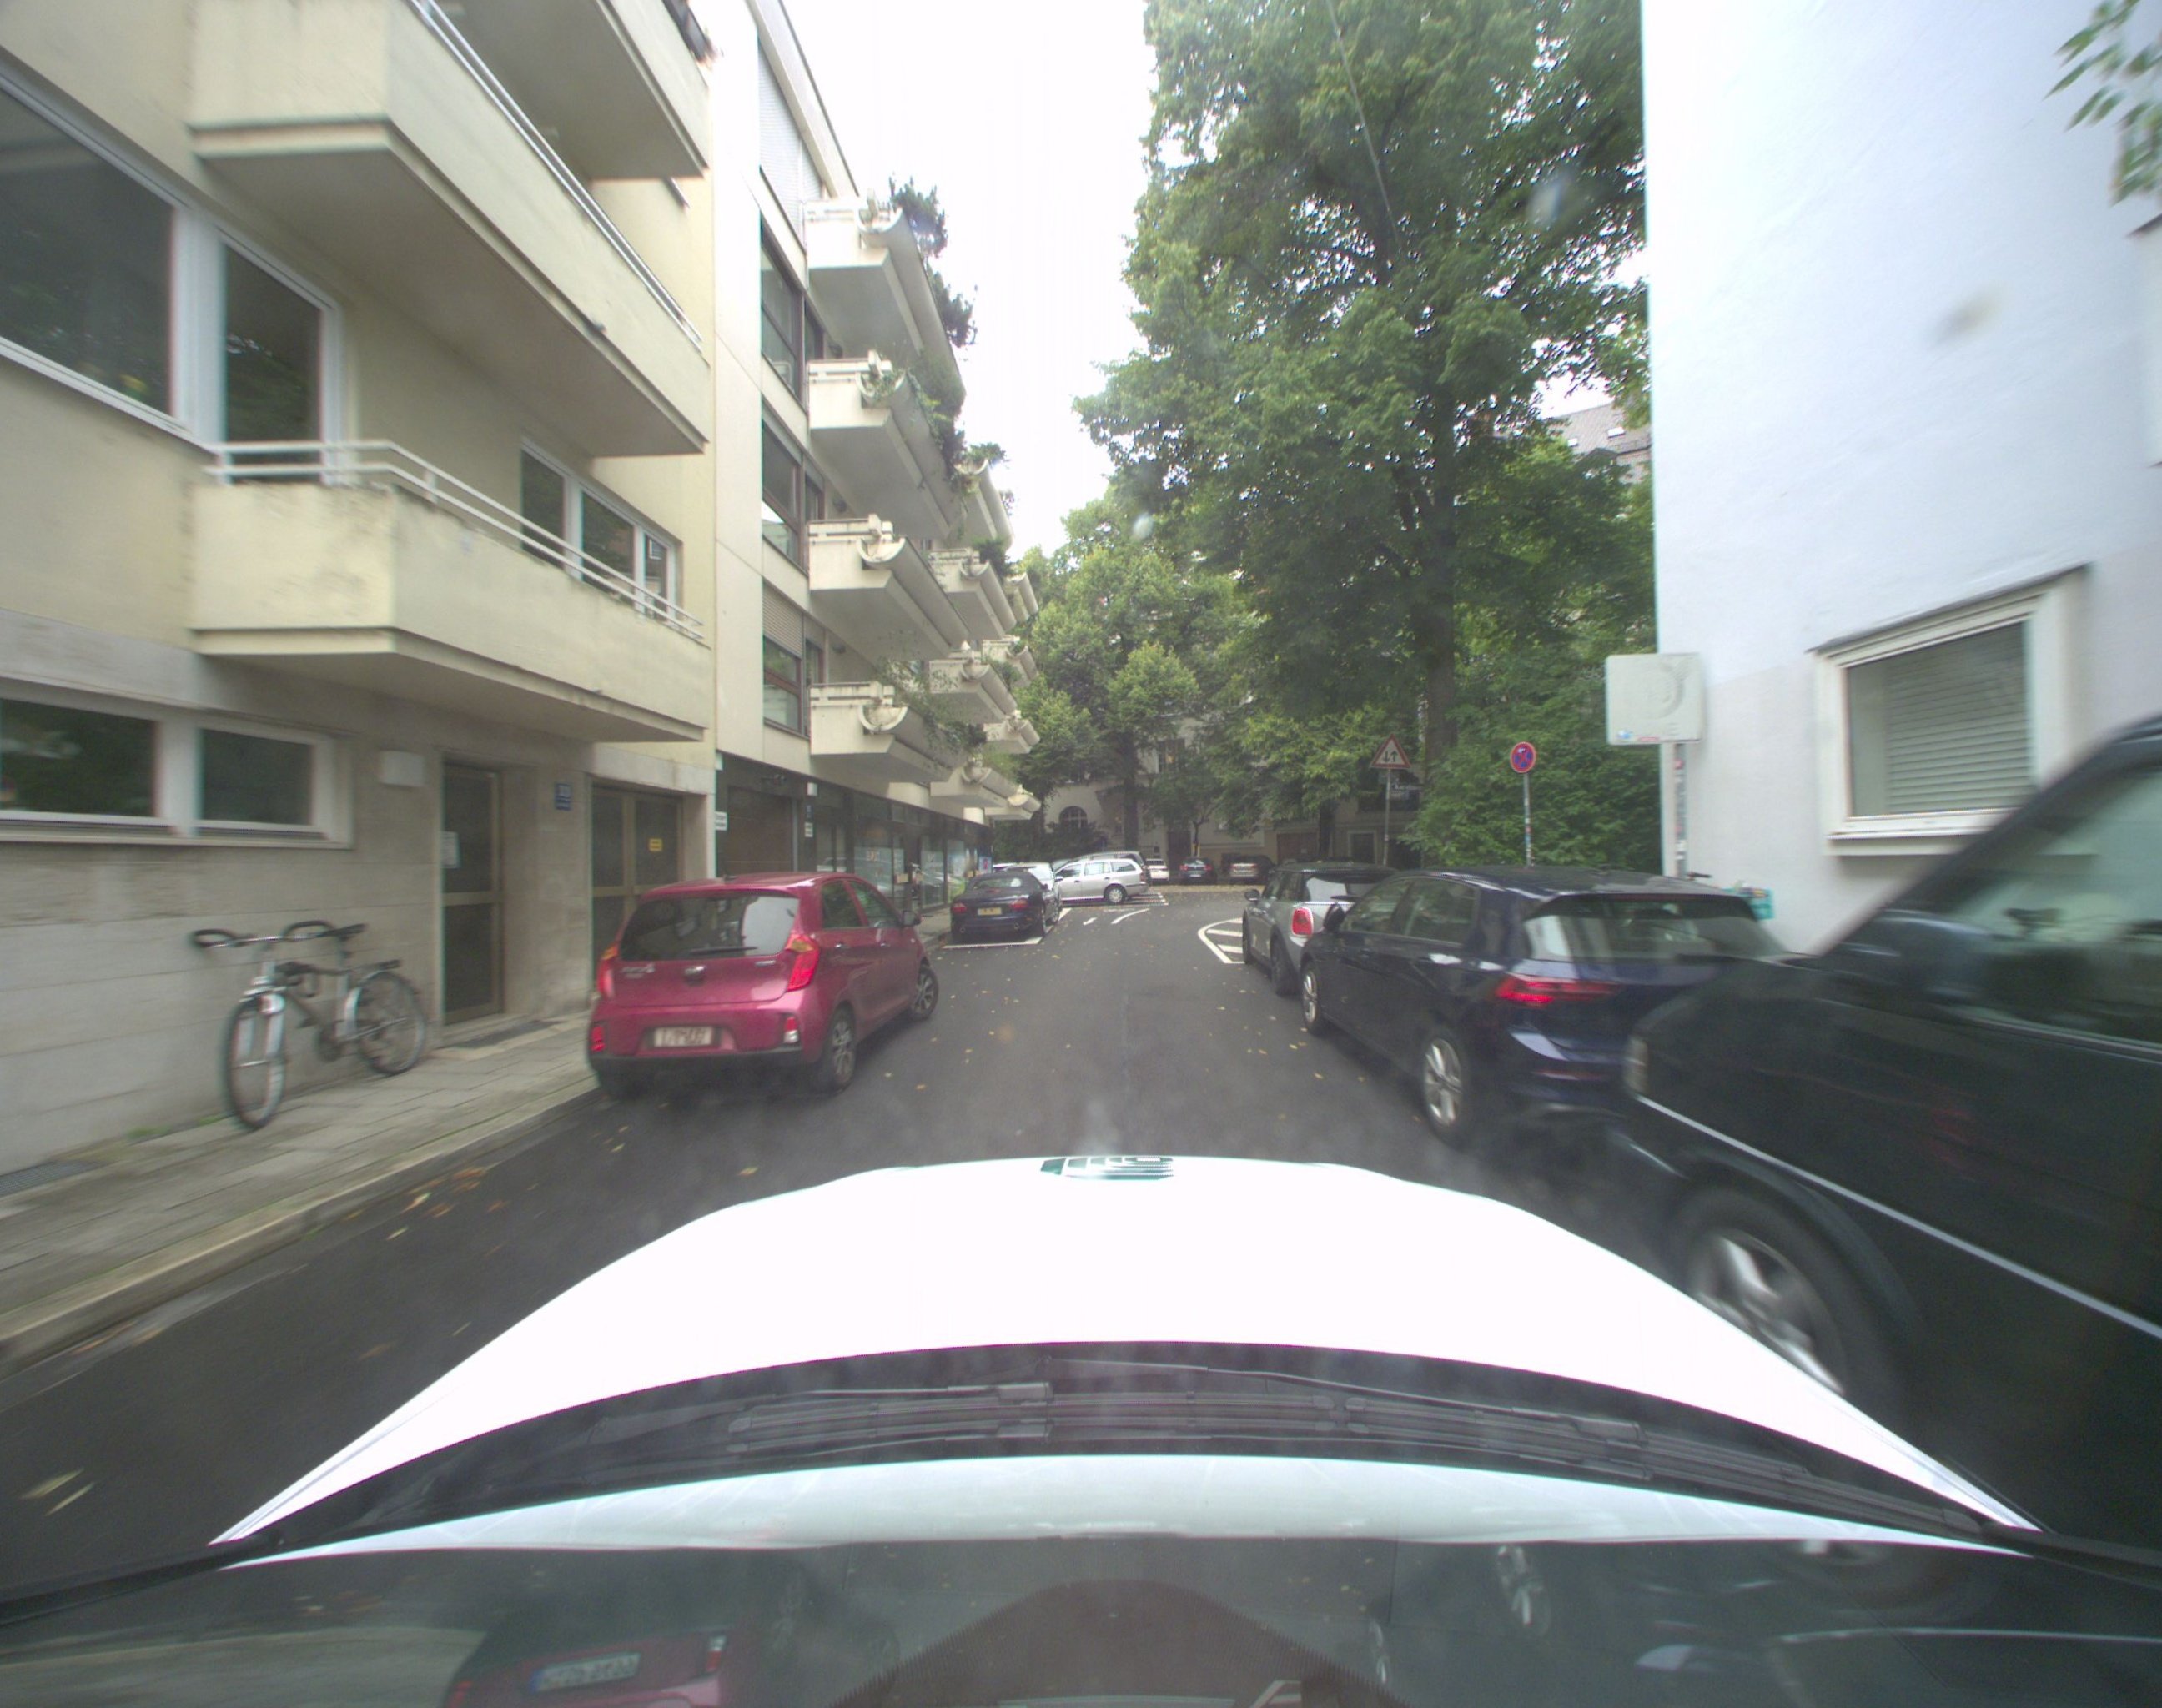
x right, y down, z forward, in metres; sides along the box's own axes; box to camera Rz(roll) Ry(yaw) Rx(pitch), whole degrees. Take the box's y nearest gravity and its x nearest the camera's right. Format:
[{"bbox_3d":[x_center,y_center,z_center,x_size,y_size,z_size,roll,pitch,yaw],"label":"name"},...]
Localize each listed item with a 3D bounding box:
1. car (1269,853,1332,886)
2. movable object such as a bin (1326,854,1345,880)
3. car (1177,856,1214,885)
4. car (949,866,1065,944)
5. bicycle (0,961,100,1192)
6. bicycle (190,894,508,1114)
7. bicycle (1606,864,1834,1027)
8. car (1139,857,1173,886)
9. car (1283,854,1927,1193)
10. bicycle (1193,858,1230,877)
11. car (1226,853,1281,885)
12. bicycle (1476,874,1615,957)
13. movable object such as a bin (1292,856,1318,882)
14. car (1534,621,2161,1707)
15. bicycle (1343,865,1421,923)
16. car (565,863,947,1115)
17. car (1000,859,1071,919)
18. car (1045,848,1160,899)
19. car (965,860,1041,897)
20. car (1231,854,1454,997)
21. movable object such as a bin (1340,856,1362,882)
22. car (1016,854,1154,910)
[{"bbox_3d":[10.571,0.763,39.053,1.687,1.467,4.315,0,-2,32],"label":"car"},{"bbox_3d":[13.629,0.683,43.586,0.706,1.348,1.382,-1,-1,30],"label":"movable object such as a bin"},{"bbox_3d":[5.950,0.812,42.112,1.780,1.431,4.010,-1,0,9],"label":"car"},{"bbox_3d":[-1.392,0.961,17.056,1.790,1.278,4.619,-3,0,2],"label":"car"},{"bbox_3d":[-4.828,0.961,2.989,0.487,0.932,1.592,-1,-1,2],"label":"bicycle"},{"bbox_3d":[-4.727,0.886,5.451,0.465,1.149,1.761,-1,0,3],"label":"bicycle"},{"bbox_3d":[5.473,0.705,7.144,0.557,1.220,1.919,0,0,3],"label":"bicycle"},{"bbox_3d":[3.967,0.900,43.273,1.710,1.431,4.005,-1,0,5],"label":"car"},{"bbox_3d":[2.766,0.751,5.557,1.826,1.419,4.059,-2,-1,1],"label":"car"},{"bbox_3d":[8.132,0.847,50.669,2.207,1.115,0.580,-1,-1,30],"label":"bicycle"},{"bbox_3d":[8.831,0.730,41.453,1.822,1.530,4.048,-1,-1,25],"label":"car"},{"bbox_3d":[6.432,0.822,11.341,1.614,1.056,0.454,-1,-1,45],"label":"bicycle"},{"bbox_3d":[12.182,0.796,44.212,1.139,1.348,1.163,0,0,28],"label":"movable object such as a bin"},{"bbox_3d":[2.498,0.527,0.502,1.867,1.791,4.784,-1,-1,2],"label":"car"},{"bbox_3d":[6.324,0.807,17.079,1.779,1.137,0.549,0,-1,-33],"label":"bicycle"},{"bbox_3d":[-2.297,0.844,6.837,1.613,1.496,3.710,-2,-1,1],"label":"car"},{"bbox_3d":[-1.169,0.902,22.389,1.555,1.421,3.834,-3,0,1],"label":"car"},{"bbox_3d":[0.812,0.740,31.378,4.206,1.684,1.902,-3,0,0],"label":"car"},{"bbox_3d":[-3.670,1.139,38.032,3.296,1.631,1.501,-1,-1,-17],"label":"car"},{"bbox_3d":[3.052,0.756,10.387,1.736,1.441,4.003,-2,-1,3],"label":"car"},{"bbox_3d":[14.216,0.768,42.846,0.854,1.305,1.441,1,0,28],"label":"movable object such as a bin"},{"bbox_3d":[0.154,0.868,26.140,4.212,1.455,1.722,-4,0,1],"label":"car"}]
